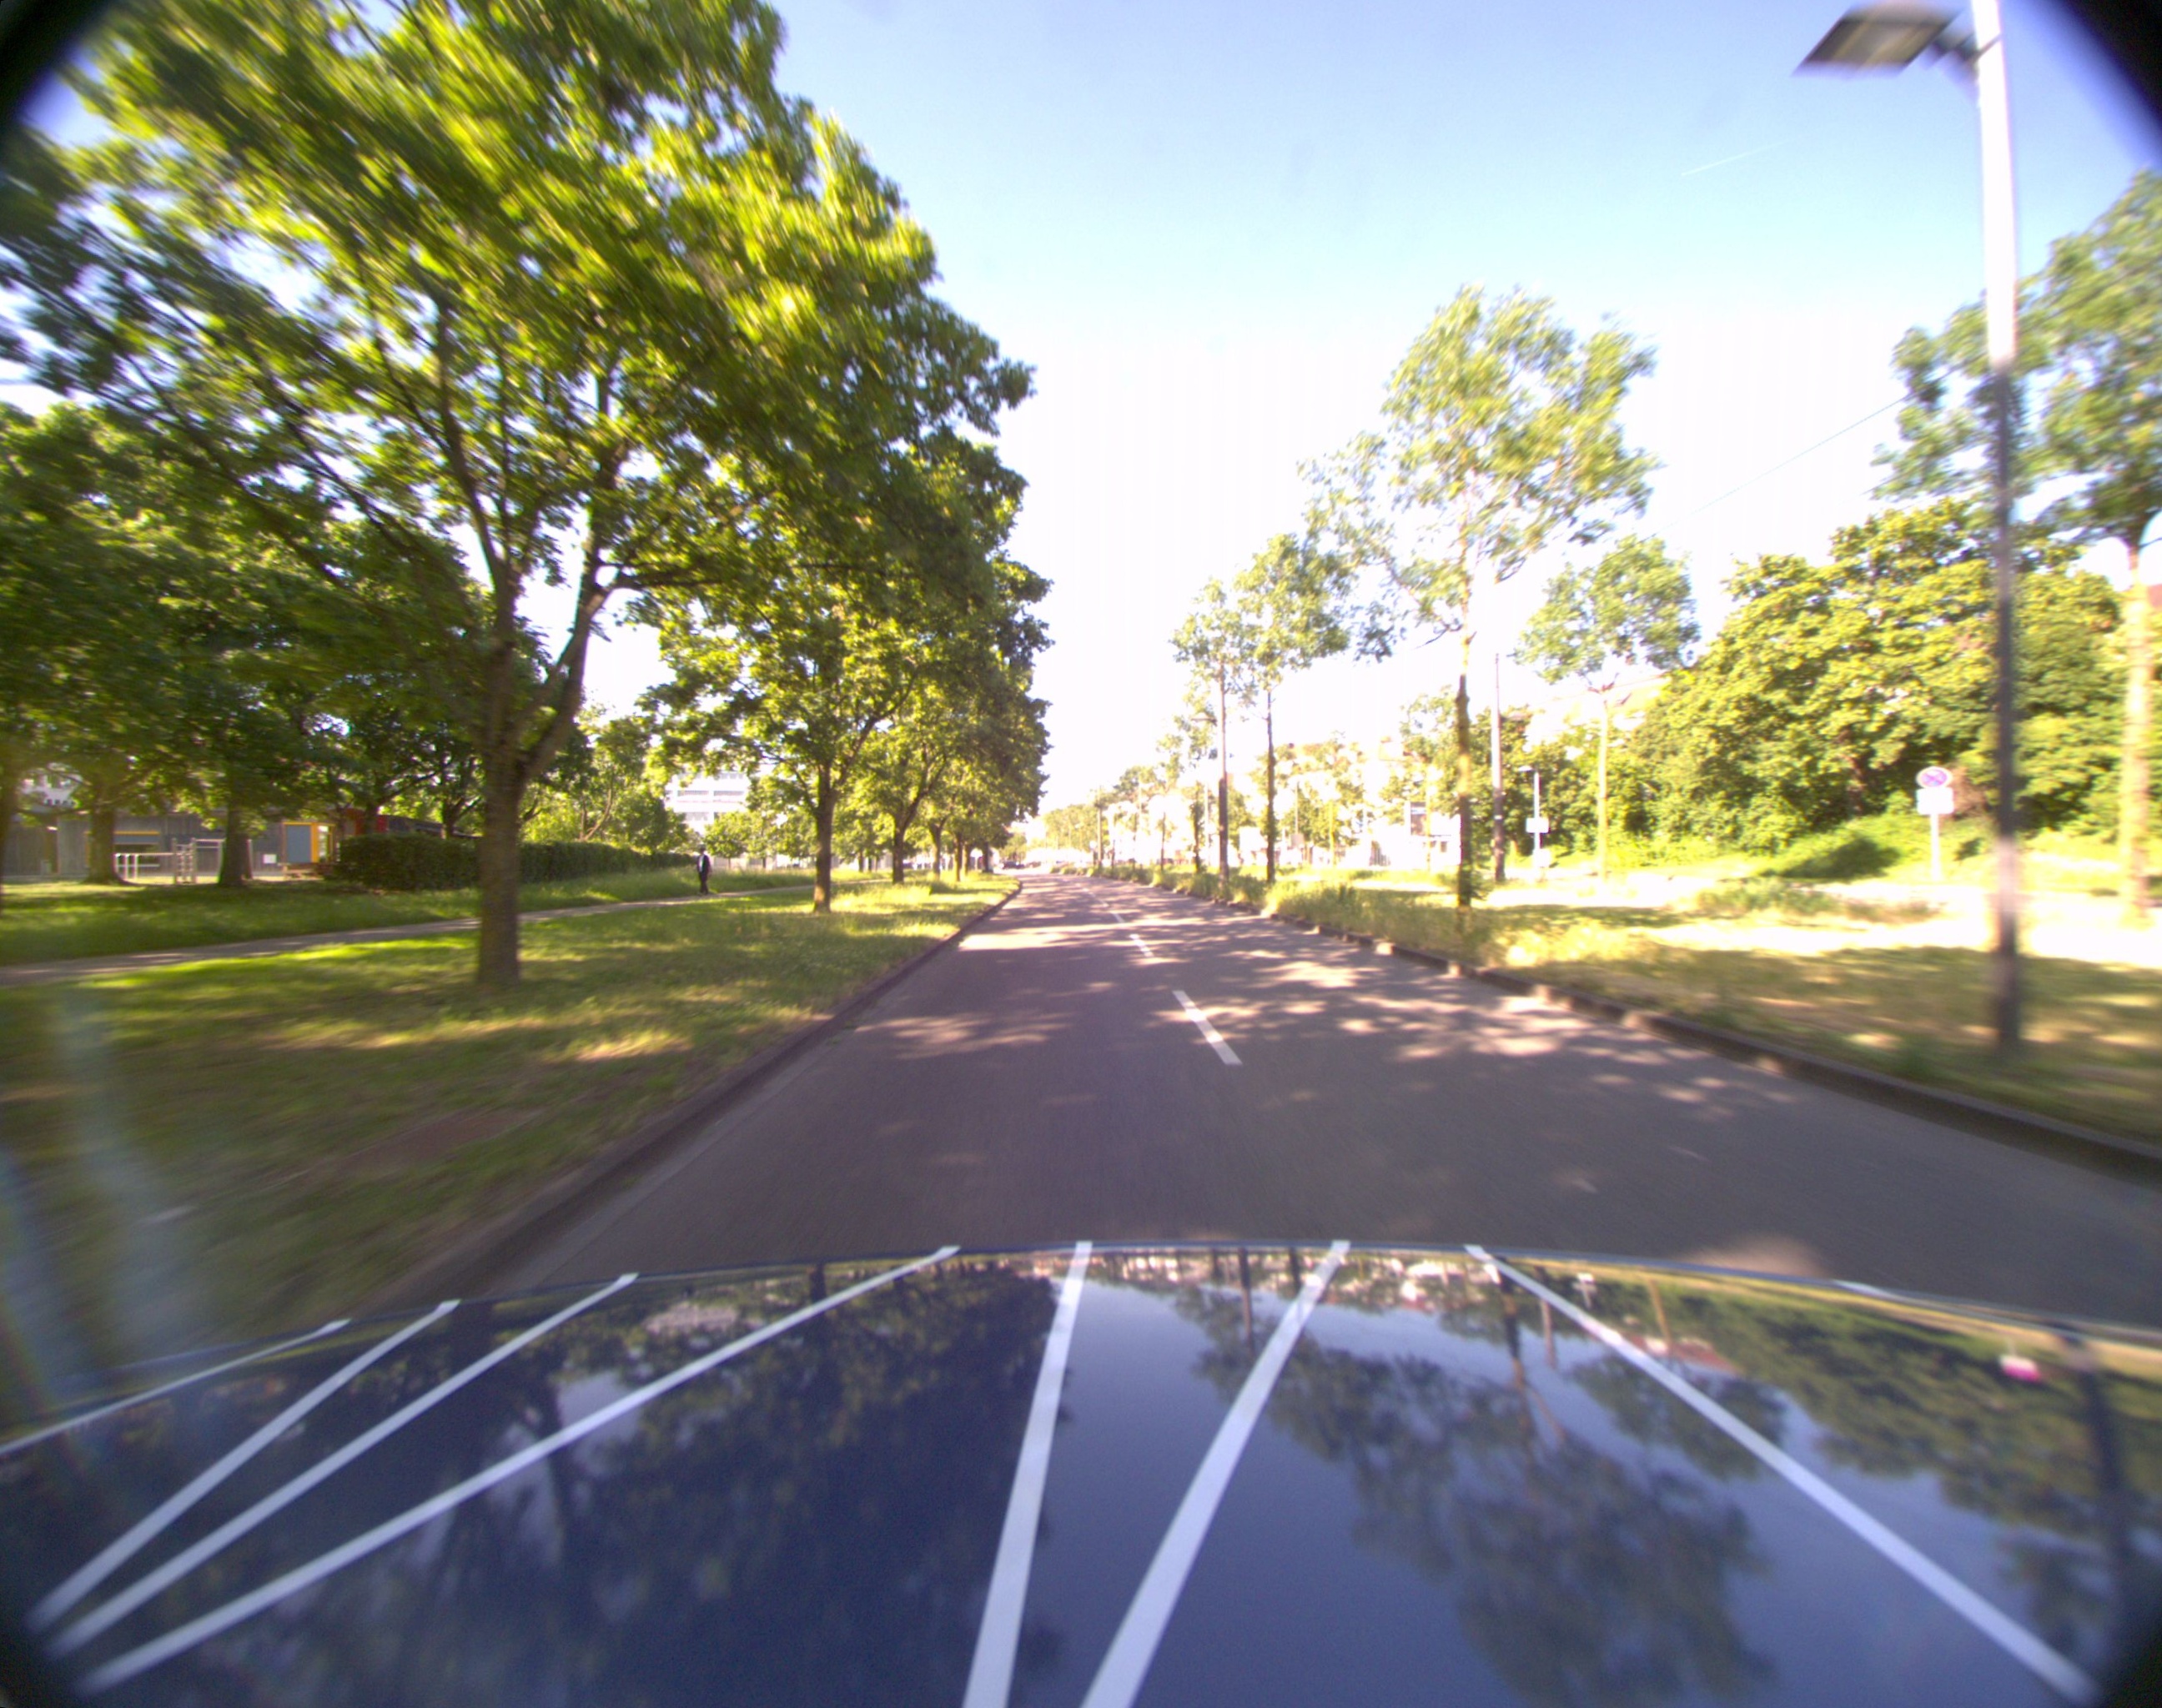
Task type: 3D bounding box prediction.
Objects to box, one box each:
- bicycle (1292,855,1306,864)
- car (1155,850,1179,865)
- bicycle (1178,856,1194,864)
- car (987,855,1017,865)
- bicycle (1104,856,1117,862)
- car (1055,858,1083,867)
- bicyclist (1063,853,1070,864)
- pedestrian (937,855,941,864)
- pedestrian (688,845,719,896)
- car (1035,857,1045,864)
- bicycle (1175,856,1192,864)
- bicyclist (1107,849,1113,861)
[{"bbox_3d":[31.021,0.752,108.170,0.720,1.205,2.549,-1,0,-14],"label":"bicycle"},{"bbox_3d":[11.581,0.487,103.005,1.826,1.630,4.486,-1,-3,-13],"label":"car"},{"bbox_3d":[17.351,1.014,125.487,2.582,1.301,0.662,-1,0,-15],"label":"bicycle"},{"bbox_3d":[-13.200,1.048,127.365,4.635,1.613,1.997,-1,1,-18],"label":"car"},{"bbox_3d":[4.293,0.758,111.950,1.828,0.958,0.816,-1,0,-5],"label":"bicycle"},{"bbox_3d":[-2.083,1.421,128.566,4.193,1.457,2.330,-1,0,-20],"label":"car"},{"bbox_3d":[-2.061,0.628,108.278,0.715,1.591,0.849,-1,0,-12],"label":"bicyclist"},{"bbox_3d":[-26.534,1.042,142.328,0.733,1.687,0.734,-1,0,-13],"label":"pedestrian"},{"bbox_3d":[-13.736,0.595,27.655,0.717,1.793,0.794,-1,0,-3],"label":"pedestrian"},{"bbox_3d":[-11.275,1.765,207.322,1.695,1.700,4.234,-1,0,-19],"label":"car"},{"bbox_3d":[17.076,1.014,126.580,2.582,1.301,0.662,-1,0,-15],"label":"bicycle"},{"bbox_3d":[4.282,0.160,111.951,0.715,1.681,0.816,-1,0,-6],"label":"bicyclist"}]
